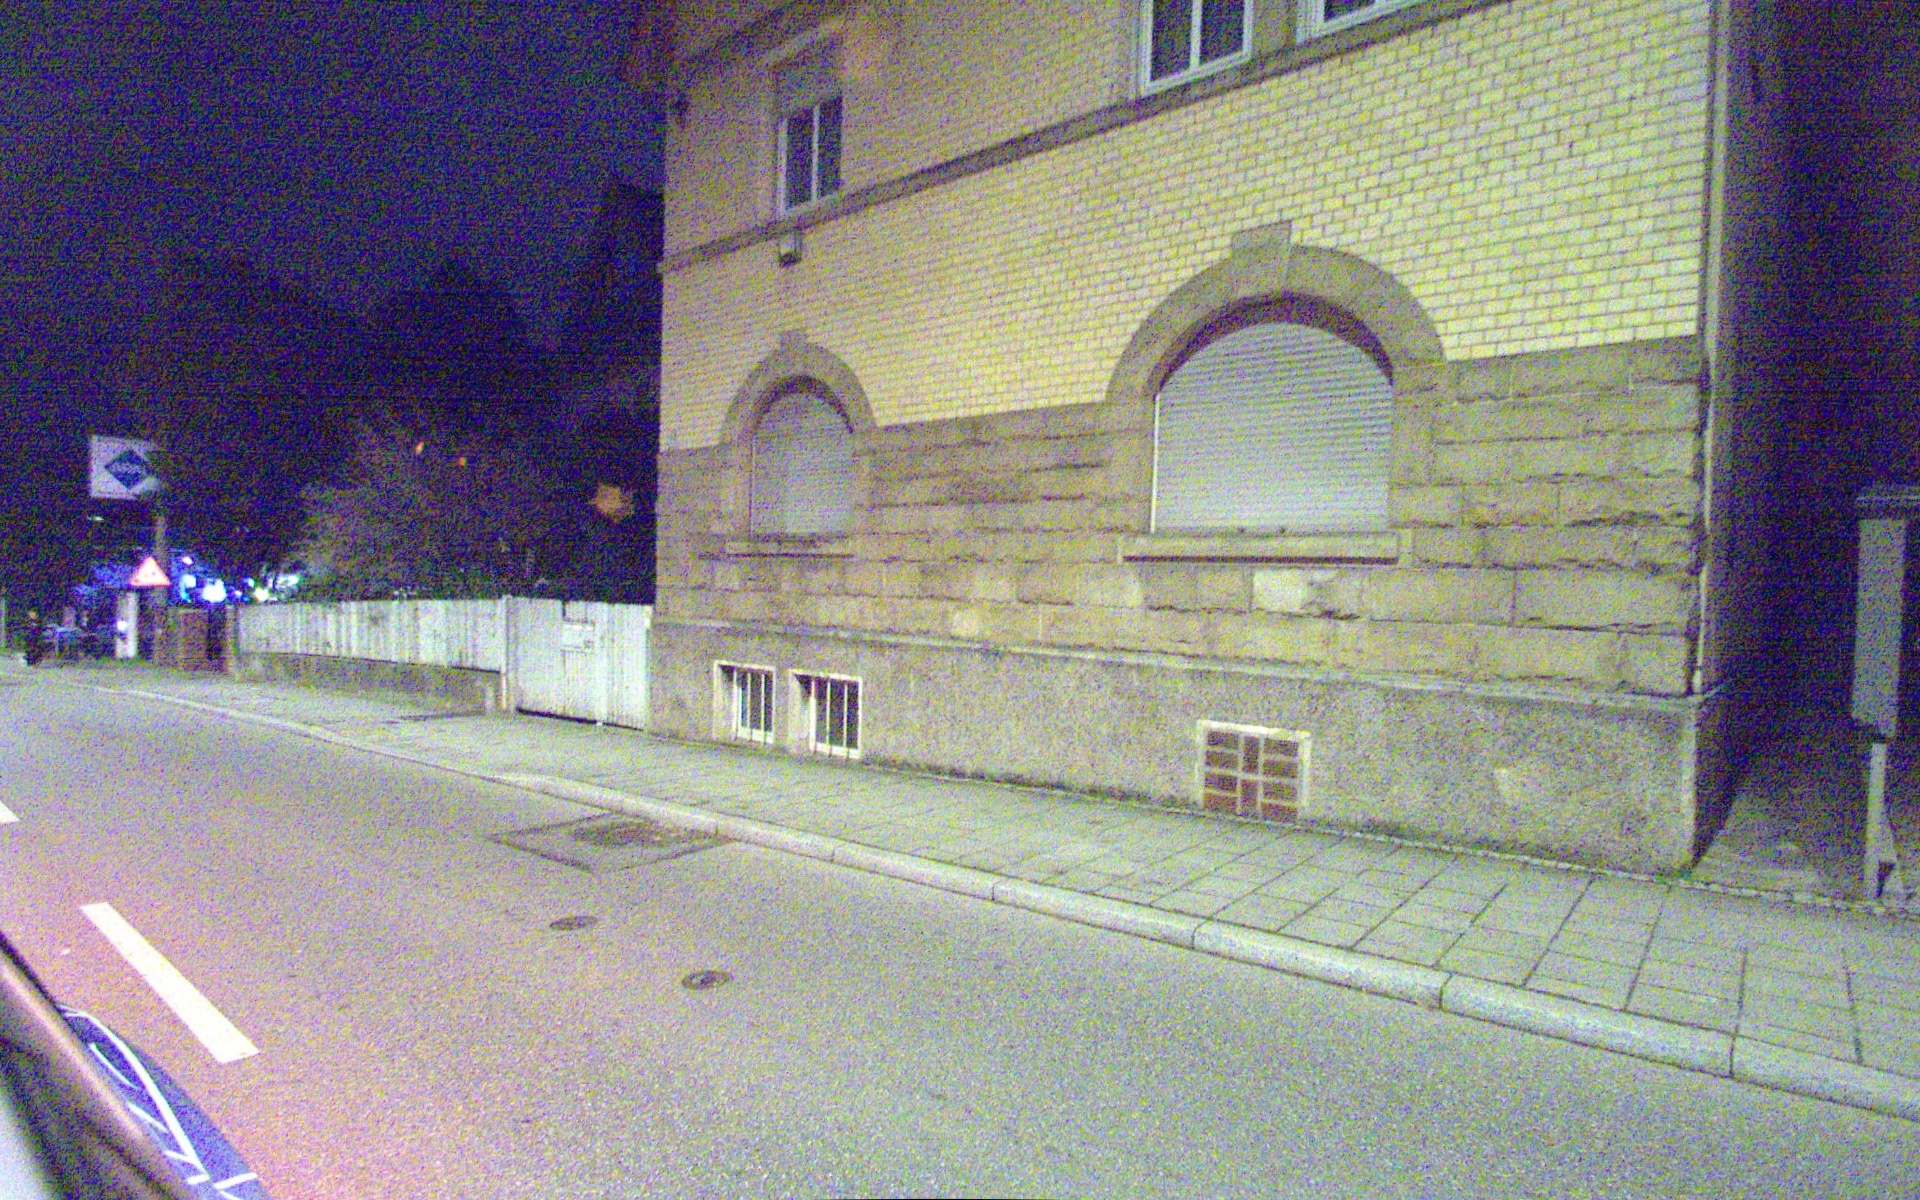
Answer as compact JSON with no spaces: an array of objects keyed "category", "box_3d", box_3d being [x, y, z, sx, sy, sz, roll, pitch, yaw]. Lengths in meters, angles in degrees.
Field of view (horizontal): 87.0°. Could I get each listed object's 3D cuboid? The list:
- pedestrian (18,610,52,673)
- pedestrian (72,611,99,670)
[{"category":"pedestrian","box_3d":[-26.508,1.170,28.994,0.500,1.773,0.664,-1,0,41]},{"category":"pedestrian","box_3d":[-26.590,1.212,30.772,0.500,1.773,0.557,-1,0,41]}]
